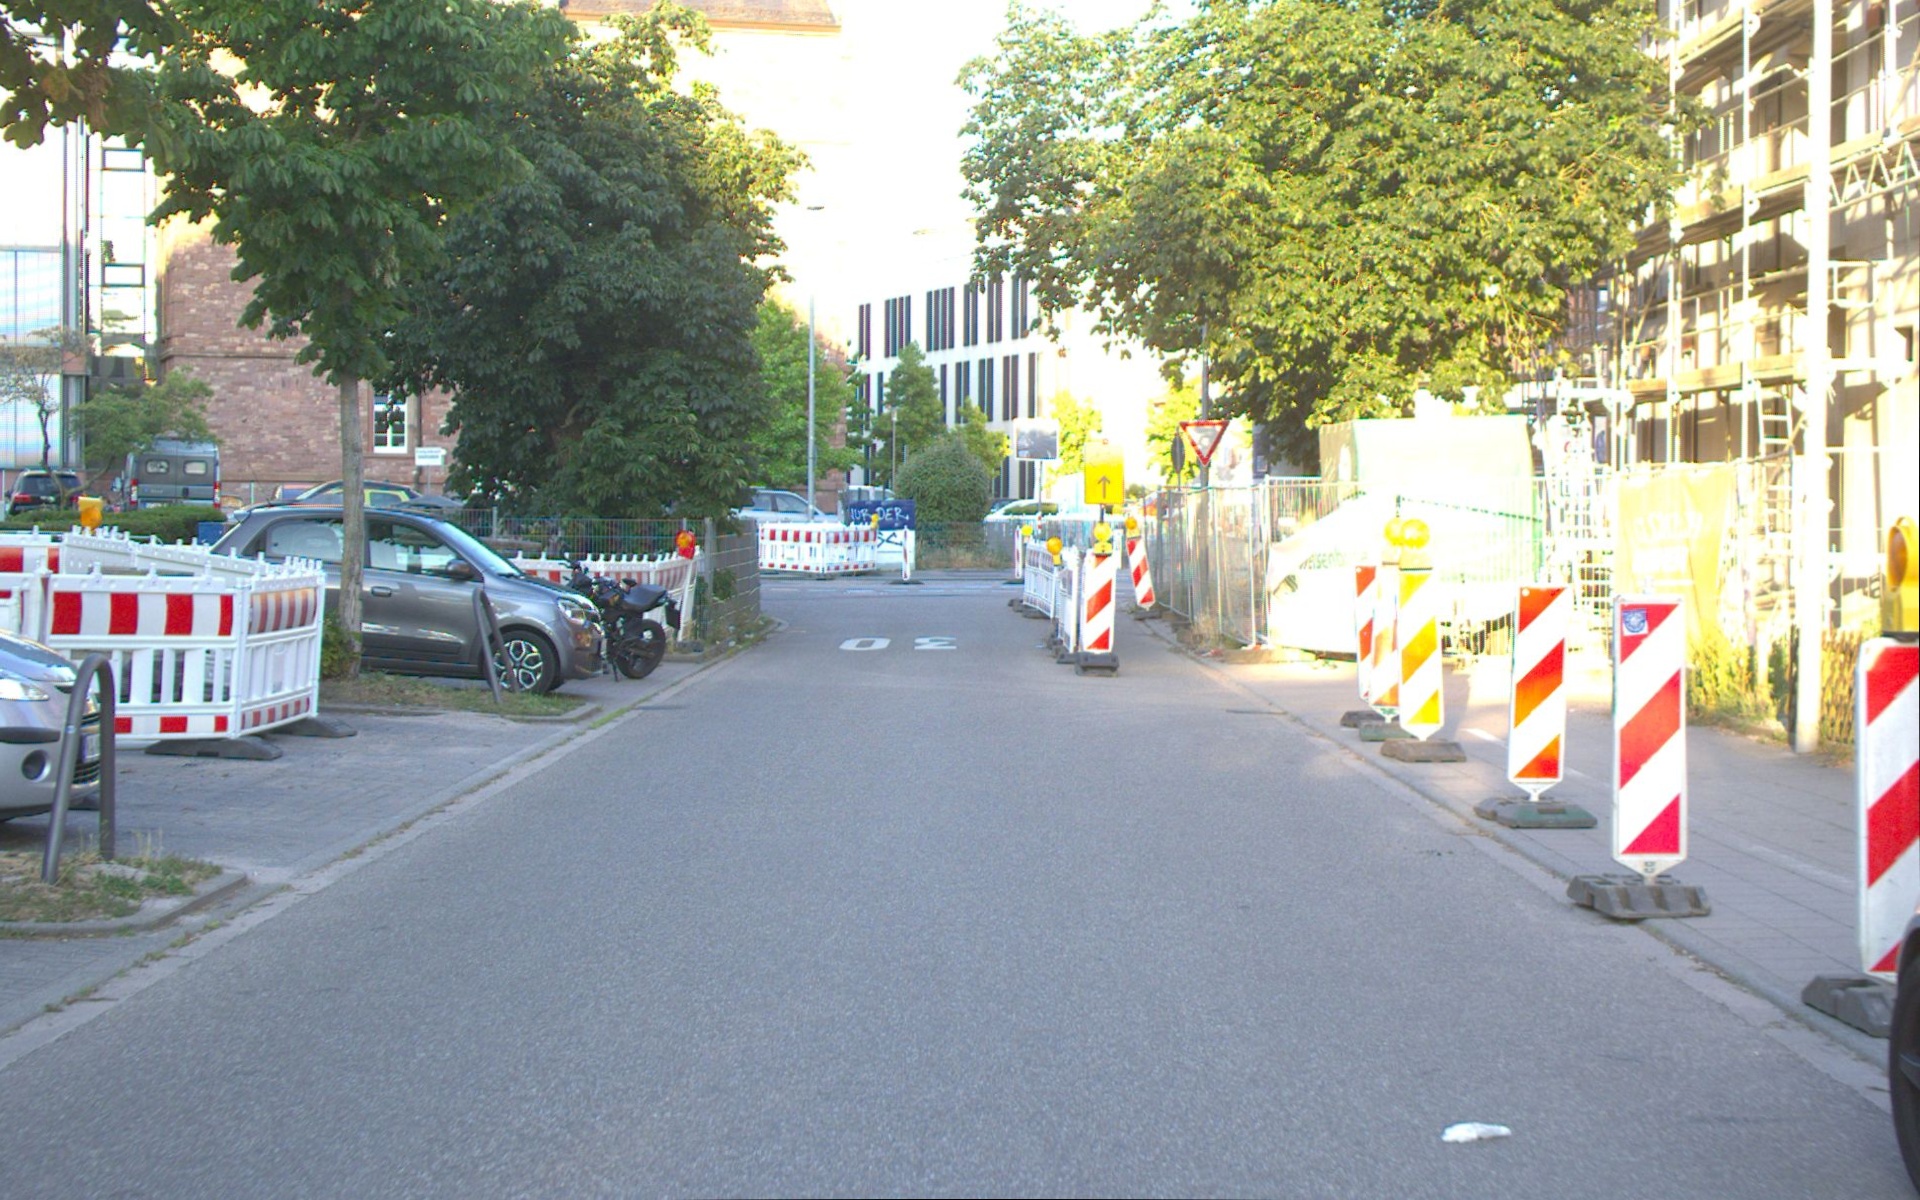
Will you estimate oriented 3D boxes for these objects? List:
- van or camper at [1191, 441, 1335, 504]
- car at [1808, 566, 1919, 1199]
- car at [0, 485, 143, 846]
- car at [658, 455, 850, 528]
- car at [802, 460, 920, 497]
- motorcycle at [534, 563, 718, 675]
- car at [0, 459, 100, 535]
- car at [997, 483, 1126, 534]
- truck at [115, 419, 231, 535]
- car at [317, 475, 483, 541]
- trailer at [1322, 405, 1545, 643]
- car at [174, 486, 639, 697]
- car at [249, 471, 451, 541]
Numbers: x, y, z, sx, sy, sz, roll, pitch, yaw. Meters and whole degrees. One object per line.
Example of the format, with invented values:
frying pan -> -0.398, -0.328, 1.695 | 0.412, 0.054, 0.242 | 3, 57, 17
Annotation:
van or camper -> 11.010, -4.624, 125.032 | 4.961, 2.232, 1.687 | 0, 2, -21
car -> 2.953, 0.692, 6.269 | 1.775, 1.392, 4.108 | 0, 2, 0
car -> -5.668, 0.229, 15.705 | 3.474, 1.561, 1.728 | 2, 1, -3
car -> -4.916, -2.593, 81.858 | 4.268, 1.702, 1.703 | -1, 2, -18
car -> -3.691, -4.523, 127.974 | 3.986, 1.308, 1.878 | 0, 4, -18
motorcycle -> -3.182, 0.172, 32.991 | 0.538, 1.017, 2.208 | 4, 2, 29
car -> -21.002, -2.384, 79.076 | 1.993, 1.686, 4.002 | 0, 2, -19
car -> 3.221, -2.894, 109.066 | 3.739, 1.597, 1.687 | 0, 2, -21
truck -> -18.308, -2.860, 79.838 | 2.333, 2.607, 4.975 | 0, 2, -16
car -> -13.023, -2.143, 79.887 | 3.630, 1.498, 1.638 | 0, 2, -16
trailer -> 5.281, -0.892, 38.833 | 1.993, 2.531, 4.186 | 0, 2, 1
car -> -4.672, -0.097, 29.375 | 3.623, 1.551, 1.693 | 3, 2, 0
car -> -14.501, -2.235, 81.712 | 4.582, 1.632, 1.576 | 0, 2, -16
